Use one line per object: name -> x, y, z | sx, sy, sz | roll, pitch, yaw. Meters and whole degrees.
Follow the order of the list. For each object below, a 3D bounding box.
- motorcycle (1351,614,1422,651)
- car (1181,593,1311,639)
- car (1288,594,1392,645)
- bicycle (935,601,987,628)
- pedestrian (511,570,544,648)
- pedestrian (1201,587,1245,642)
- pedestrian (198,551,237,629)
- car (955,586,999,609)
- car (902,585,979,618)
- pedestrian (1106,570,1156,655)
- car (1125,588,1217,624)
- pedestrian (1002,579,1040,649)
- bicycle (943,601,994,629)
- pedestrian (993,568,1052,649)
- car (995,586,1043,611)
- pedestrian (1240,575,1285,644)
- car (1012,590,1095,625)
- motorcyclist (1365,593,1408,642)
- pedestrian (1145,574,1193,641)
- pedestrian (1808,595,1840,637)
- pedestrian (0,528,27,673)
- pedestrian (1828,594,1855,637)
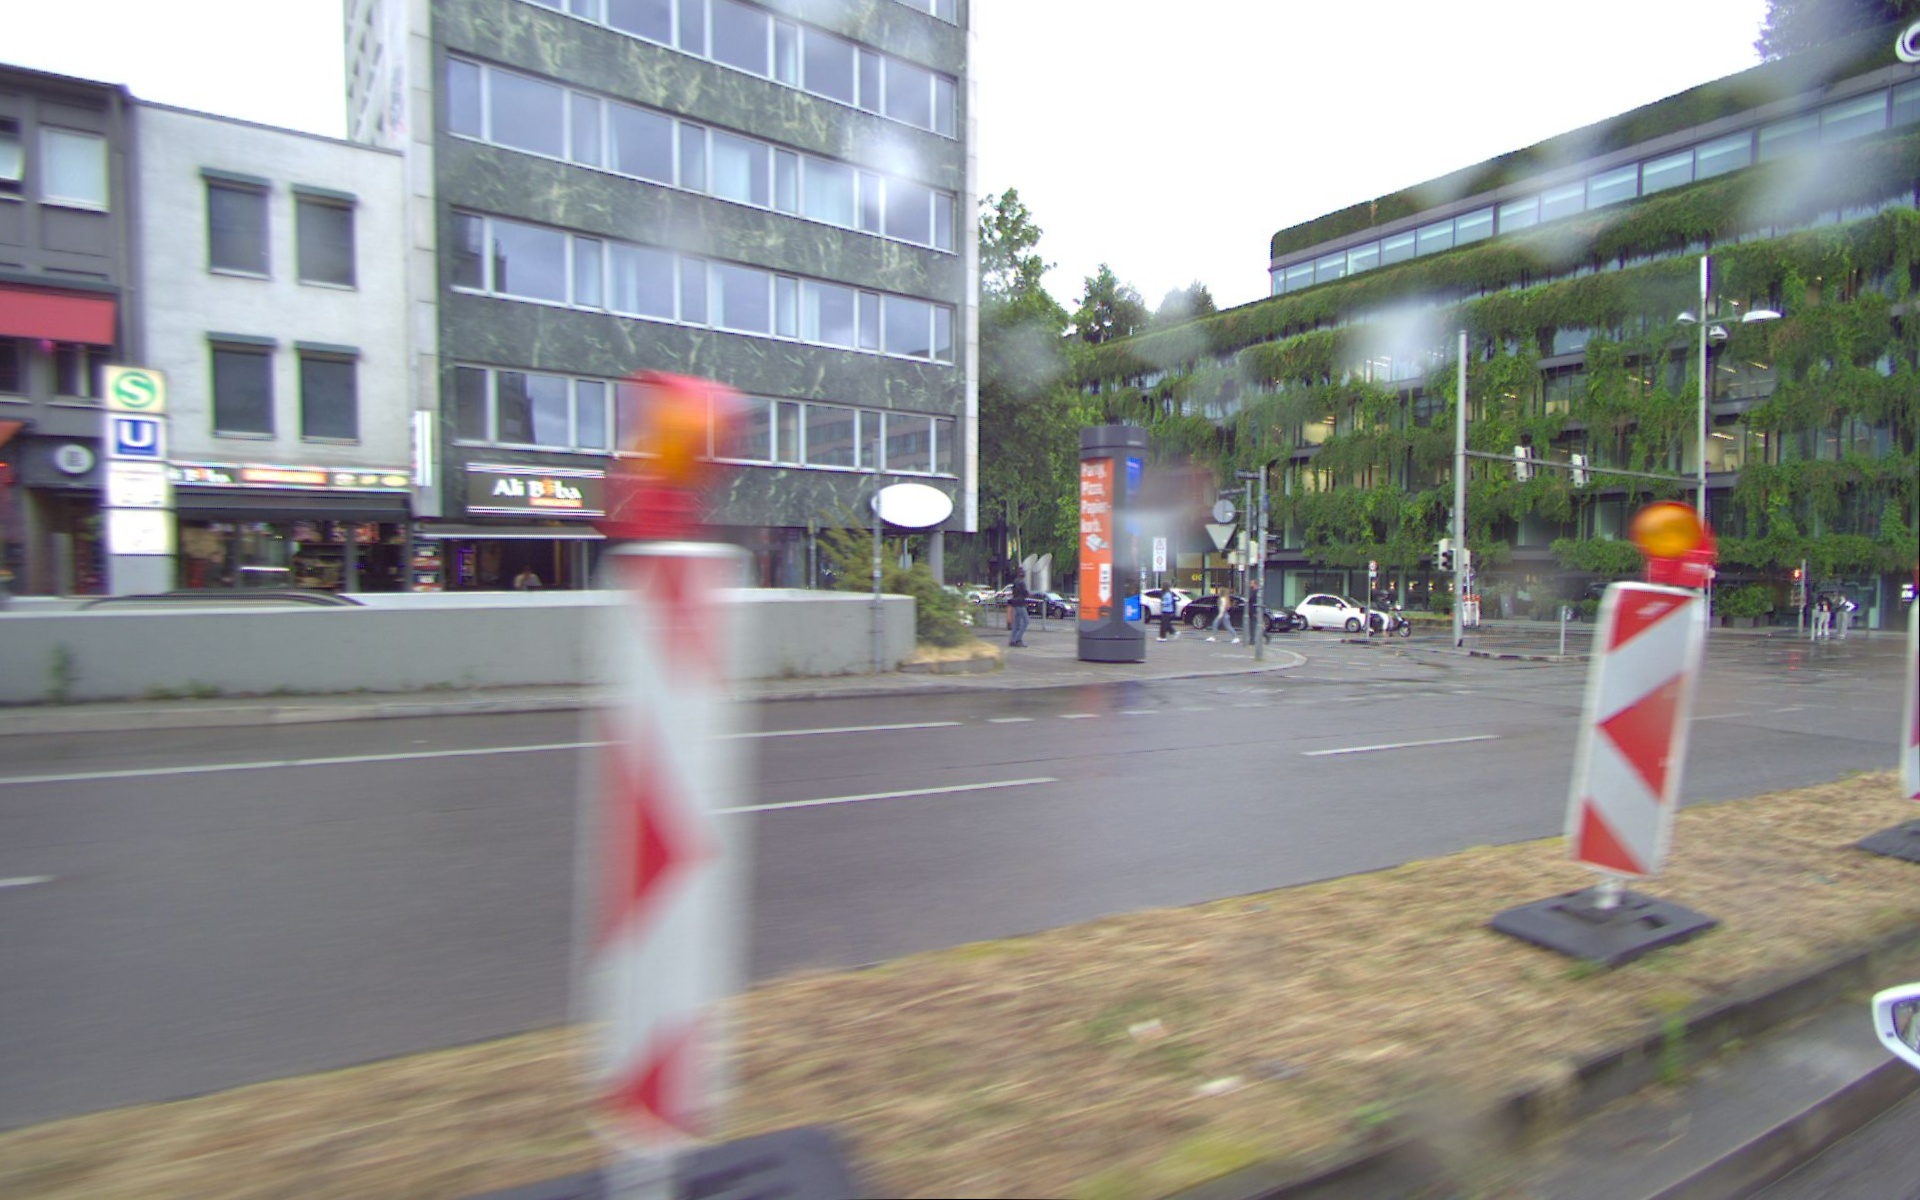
motorcycle -> 15.466, 1.156, 36.432 | 2.204, 1.227, 0.843 | 1, 1, 44
car -> 11.471, 0.589, 40.547 | 1.957, 1.674, 4.755 | 0, 1, -43
car -> 15.342, 0.745, 40.631 | 1.985, 1.948, 3.417 | 0, 1, -42
bicycle -> 0.043, 0.508, 35.160 | 1.773, 0.947, 0.473 | 1, 1, -21
pedestrian -> -10.832, 0.222, 25.164 | 0.586, 1.911, 0.750 | 0, 1, -36
pedestrian -> 7.833, 0.419, 29.914 | 0.912, 1.606, 0.827 | 1, 1, -30
pedestrian -> -14.260, -0.189, 19.309 | 0.582, 1.470, 0.598 | 0, 1, -35
car -> 1.488, -0.223, 89.574 | 1.979, 2.040, 4.073 | 1, 0, -34
car -> -1.105, 0.052, 54.560 | 1.984, 1.674, 4.188 | 0, 1, -40
pedestrian -> 3.972, 0.305, 23.312 | 0.794, 1.910, 0.864 | -3, -3, 35
car -> 9.850, 0.260, 47.058 | 1.858, 1.543, 3.855 | 0, 1, -42
pedestrian -> 1.488, 0.337, 24.533 | 0.680, 1.675, 0.756 | 1, 1, -16
bicycle -> 0.312, 0.544, 36.546 | 2.170, 0.968, 0.423 | 1, 0, -43
pedestrian -> 1.532, 0.194, 24.554 | 1.225, 1.911, 0.685 | 0, 3, -34
car -> 4.959, -0.149, 84.675 | 1.979, 2.040, 4.073 | 1, 0, -34
pedestrian -> 8.509, 0.260, 28.259 | 0.887, 1.910, 0.780 | 1, 1, -30
car -> 4.909, 0.388, 53.114 | 1.985, 1.674, 4.049 | 2, 0, -42
motorcyclist -> 15.462, 0.639, 36.435 | 1.173, 1.726, 0.843 | 2, 1, 44
pedestrian -> 6.033, 0.204, 28.998 | 0.868, 1.879, 1.015 | 0, 1, -34
pedestrian -> 37.362, 0.667, 43.452 | 0.923, 1.781, 1.167 | 1, 1, 37
pedestrian -> -13.011, -0.008, 13.380 | 0.750, 1.911, 0.685 | 0, 1, -34
pedestrian -> 37.776, 0.650, 43.042 | 0.731, 1.781, 0.972 | 1, 1, 37
